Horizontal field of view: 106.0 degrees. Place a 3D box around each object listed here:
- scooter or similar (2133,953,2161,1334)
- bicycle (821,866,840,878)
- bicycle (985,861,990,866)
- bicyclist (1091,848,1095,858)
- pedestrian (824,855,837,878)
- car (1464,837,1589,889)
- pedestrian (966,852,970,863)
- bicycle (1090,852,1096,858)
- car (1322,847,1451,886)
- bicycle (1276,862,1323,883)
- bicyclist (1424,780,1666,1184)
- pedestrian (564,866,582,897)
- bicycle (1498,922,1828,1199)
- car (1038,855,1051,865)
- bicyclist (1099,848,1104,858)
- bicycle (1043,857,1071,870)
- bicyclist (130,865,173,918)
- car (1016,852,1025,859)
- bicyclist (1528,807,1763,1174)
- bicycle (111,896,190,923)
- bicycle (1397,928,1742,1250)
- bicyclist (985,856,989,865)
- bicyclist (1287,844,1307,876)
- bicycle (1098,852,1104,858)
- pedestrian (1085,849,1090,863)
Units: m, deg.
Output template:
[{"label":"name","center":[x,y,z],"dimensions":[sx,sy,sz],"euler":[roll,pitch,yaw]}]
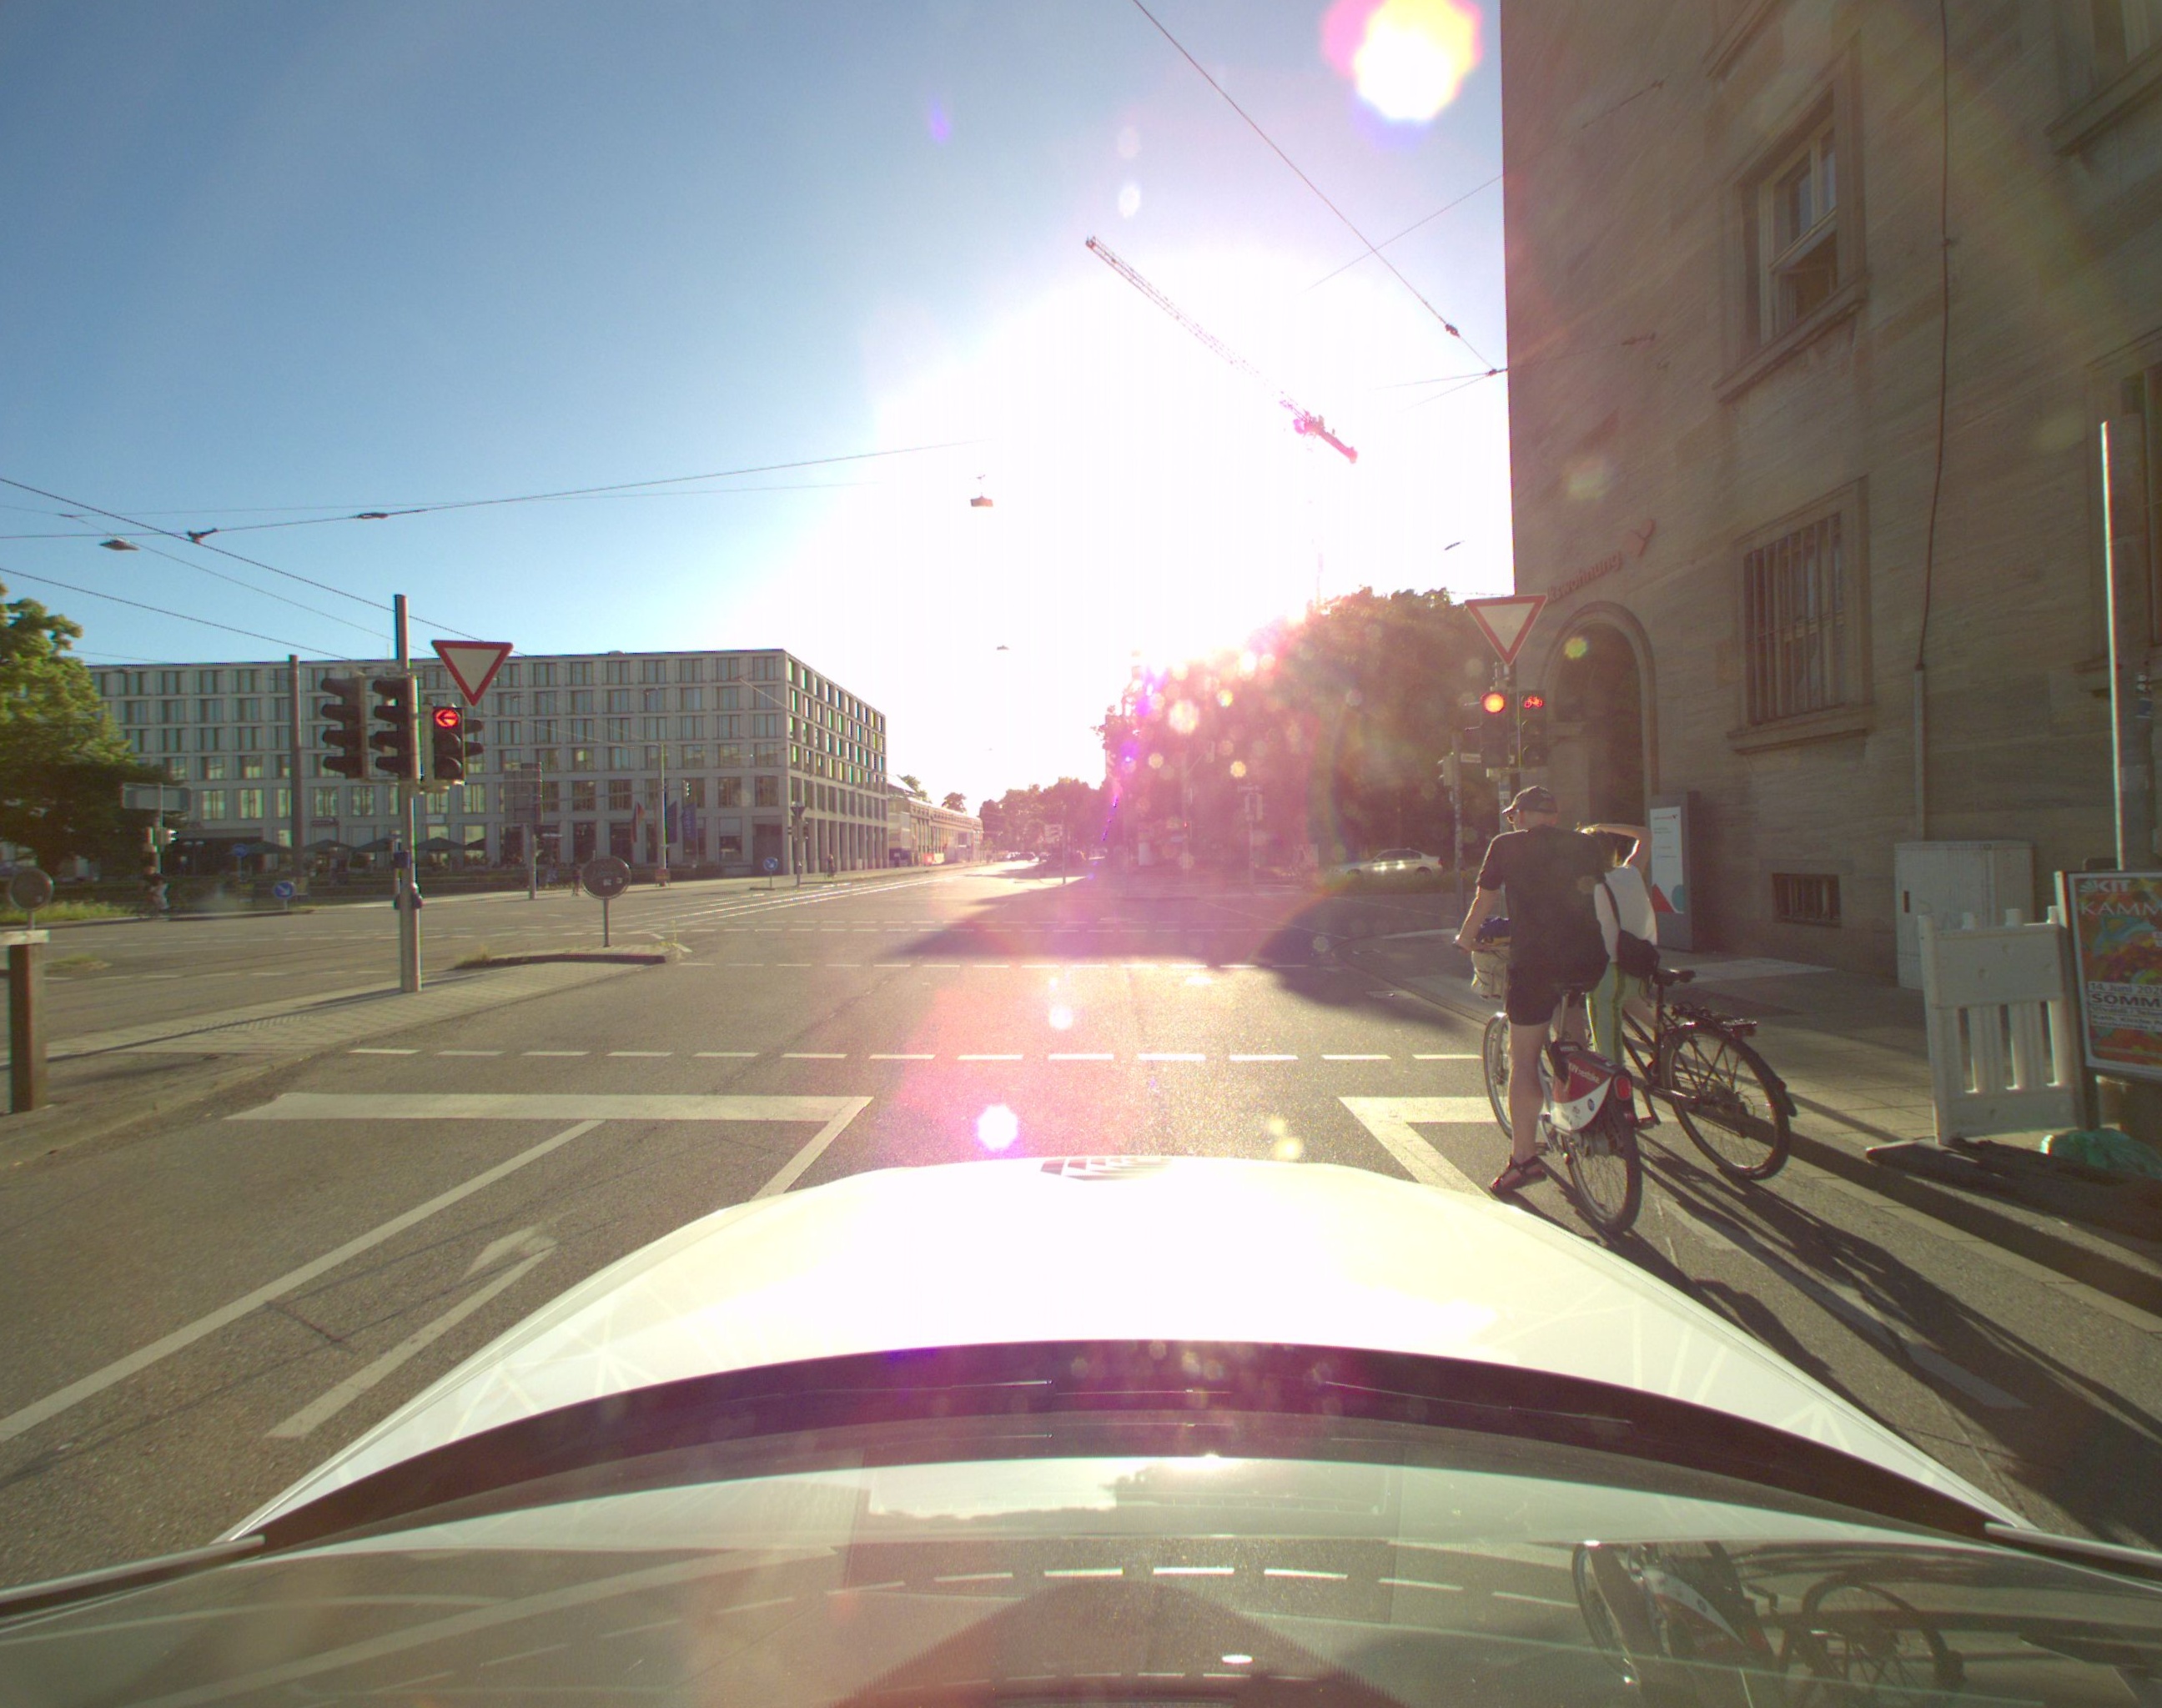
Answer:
[{"label":"scooter or similar","center":[3.344,0.890,1.890],"dimensions":[0.568,1.149,1.279],"euler":[2,0,26]},{"label":"bicycle","center":[-17.630,1.274,57.269],"dimensions":[0.568,0.823,1.723],"euler":[-2,0,9]},{"label":"bicycle","center":[-15.061,1.523,130.957],"dimensions":[0.492,0.839,1.158],"euler":[-2,0,4]},{"label":"bicyclist","center":[2.679,-0.209,180.740],"dimensions":[0.891,2.014,0.746],"euler":[0,-1,-10]},{"label":"pedestrian","center":[-17.634,0.884,57.309],"dimensions":[0.568,1.595,0.746],"euler":[-2,0,9]},{"label":"car","center":[17.886,0.348,32.860],"dimensions":[3.970,2.014,2.002],"euler":[0,-1,3]},{"label":"pedestrian","center":[-19.337,0.657,139.186],"dimensions":[0.584,1.889,0.479],"euler":[0,-1,7]},{"label":"bicycle","center":[2.692,0.188,180.662],"dimensions":[0.890,1.219,2.784],"euler":[0,-1,-9]},{"label":"car","center":[12.439,0.502,33.417],"dimensions":[4.559,1.516,2.001],"euler":[0,-1,1]},{"label":"bicycle","center":[9.715,0.827,36.286],"dimensions":[1.932,0.889,0.719],"euler":[-1,-1,8]},{"label":"bicyclist","center":[2.182,0.549,3.950],"dimensions":[0.621,1.715,0.913],"euler":[-2,0,1]},{"label":"pedestrian","center":[-28.480,1.540,45.660],"dimensions":[0.600,1.681,0.608],"euler":[-2,0,9]},{"label":"bicycle","center":[2.970,0.968,4.406],"dimensions":[0.579,1.044,1.748],"euler":[-2,0,3]},{"label":"car","center":[-6.232,1.056,140.004],"dimensions":[1.986,1.640,4.001],"euler":[0,-1,2]},{"label":"bicyclist","center":[4.509,-0.217,181.323],"dimensions":[0.891,2.014,0.746],"euler":[0,-1,-10]},{"label":"bicycle","center":[-2.011,0.783,67.435],"dimensions":[2.240,0.940,0.653],"euler":[-2,0,-4]},{"label":"bicyclist","center":[-32.068,1.280,28.109],"dimensions":[0.532,1.761,0.771],"euler":[-2,0,2]},{"label":"car","center":[-14.455,0.313,195.326],"dimensions":[1.988,1.644,3.998],"euler":[-2,0,-1]},{"label":"bicyclist","center":[2.960,0.653,4.372],"dimensions":[0.581,1.738,0.951],"euler":[-2,0,2]},{"label":"bicycle","center":[-32.058,1.904,28.087],"dimensions":[0.532,0.787,1.853],"euler":[-2,0,2]},{"label":"bicycle","center":[2.189,0.969,3.960],"dimensions":[0.621,1.044,1.747],"euler":[-2,0,1]},{"label":"bicyclist","center":[-15.082,1.069,130.921],"dimensions":[0.492,1.498,0.667],"euler":[-2,0,4]},{"label":"bicyclist","center":[9.622,0.264,36.299],"dimensions":[0.742,1.406,0.704],"euler":[-1,-1,8]},{"label":"bicycle","center":[4.522,0.180,181.298],"dimensions":[0.890,1.219,2.784],"euler":[0,-1,-9]},{"label":"pedestrian","center":[0.773,0.215,97.861],"dimensions":[0.576,1.689,0.584],"euler":[-2,0,-6]}]
